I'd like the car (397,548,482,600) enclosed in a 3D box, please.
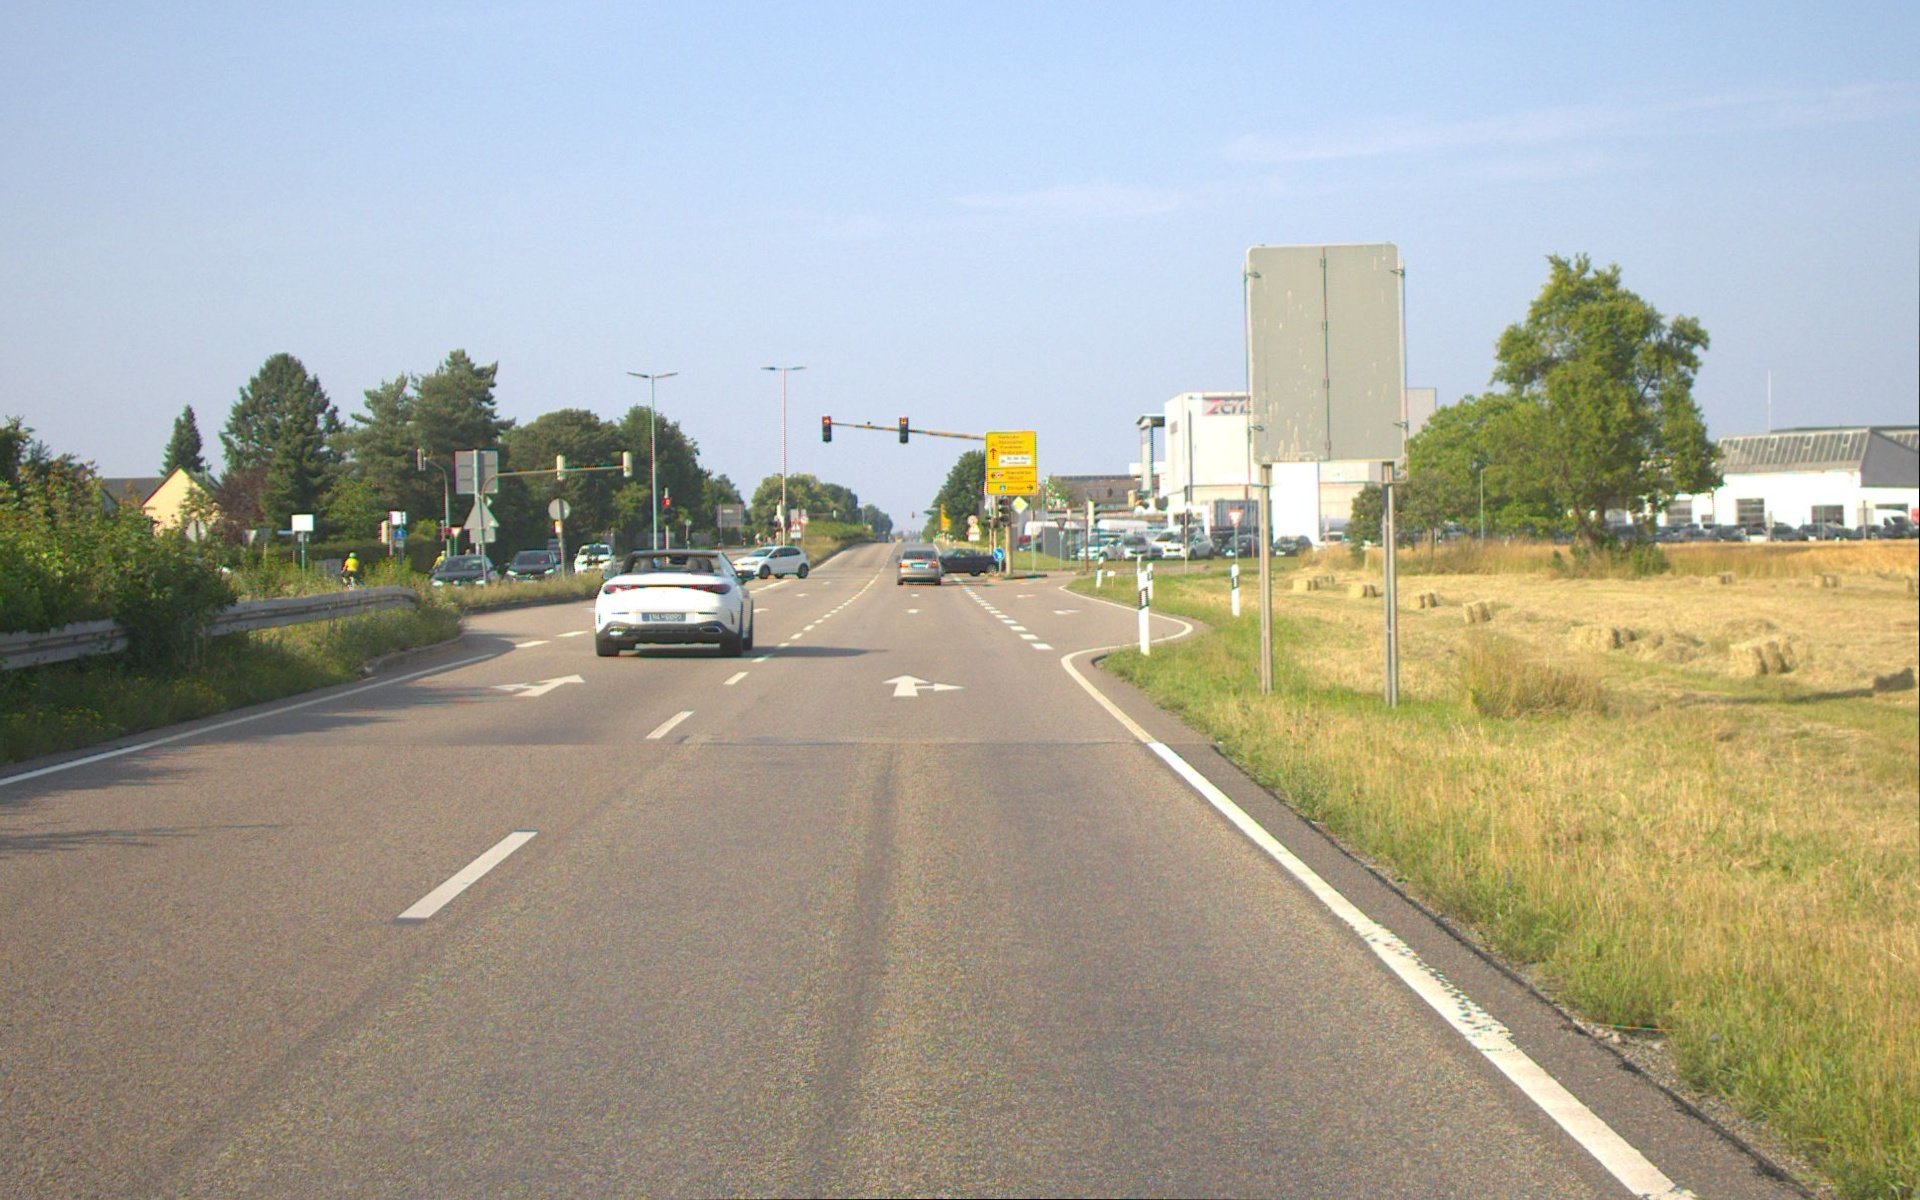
[{"bbox_3d":[-15.628,-0.807,103.418,1.993,1.481,4.227,0,1,-1],"label":"car"}]

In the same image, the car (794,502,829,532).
[{"bbox_3d":[-8.996,-5.019,208.271,1.947,1.766,4.000,0,1,0],"label":"car"}]

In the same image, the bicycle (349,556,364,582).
[{"bbox_3d":[-24.362,-1.247,138.869,0.407,1.011,1.604,-2,1,-4],"label":"bicycle"}]

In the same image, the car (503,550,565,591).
[{"bbox_3d":[-15.288,-1.074,123.484,1.729,1.403,4.000,0,1,0],"label":"car"}]

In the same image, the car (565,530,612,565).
[{"bbox_3d":[-19.024,-2.701,176.272,1.947,1.794,4.000,0,1,0],"label":"car"}]

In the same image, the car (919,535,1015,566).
[{"bbox_3d":[0.304,-2.261,158.134,3.986,1.403,1.955,0,1,-20],"label":"car"}]

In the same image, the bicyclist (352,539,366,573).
[{"bbox_3d":[-24.292,-1.769,138.955,0.455,1.347,0.552,-2,1,-4],"label":"bicyclist"}]

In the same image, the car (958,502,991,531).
[{"bbox_3d":[0.875,-5.067,208.347,1.993,1.751,4.000,0,1,1],"label":"car"}]

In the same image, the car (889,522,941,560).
[{"bbox_3d":[-1.773,-2.318,134.422,1.993,1.481,4.001,0,1,-1],"label":"car"}]

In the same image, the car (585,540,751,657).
[{"bbox_3d":[-3.749,-0.059,44.749,1.909,1.417,4.001,0,1,-1],"label":"car"}]

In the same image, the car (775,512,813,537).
[{"bbox_3d":[-9.359,-4.278,194.067,1.947,1.403,4.000,0,1,0],"label":"car"}]

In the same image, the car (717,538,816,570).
[{"bbox_3d":[-8.650,-2.070,153.846,3.986,1.403,1.954,0,1,-22],"label":"car"}]
